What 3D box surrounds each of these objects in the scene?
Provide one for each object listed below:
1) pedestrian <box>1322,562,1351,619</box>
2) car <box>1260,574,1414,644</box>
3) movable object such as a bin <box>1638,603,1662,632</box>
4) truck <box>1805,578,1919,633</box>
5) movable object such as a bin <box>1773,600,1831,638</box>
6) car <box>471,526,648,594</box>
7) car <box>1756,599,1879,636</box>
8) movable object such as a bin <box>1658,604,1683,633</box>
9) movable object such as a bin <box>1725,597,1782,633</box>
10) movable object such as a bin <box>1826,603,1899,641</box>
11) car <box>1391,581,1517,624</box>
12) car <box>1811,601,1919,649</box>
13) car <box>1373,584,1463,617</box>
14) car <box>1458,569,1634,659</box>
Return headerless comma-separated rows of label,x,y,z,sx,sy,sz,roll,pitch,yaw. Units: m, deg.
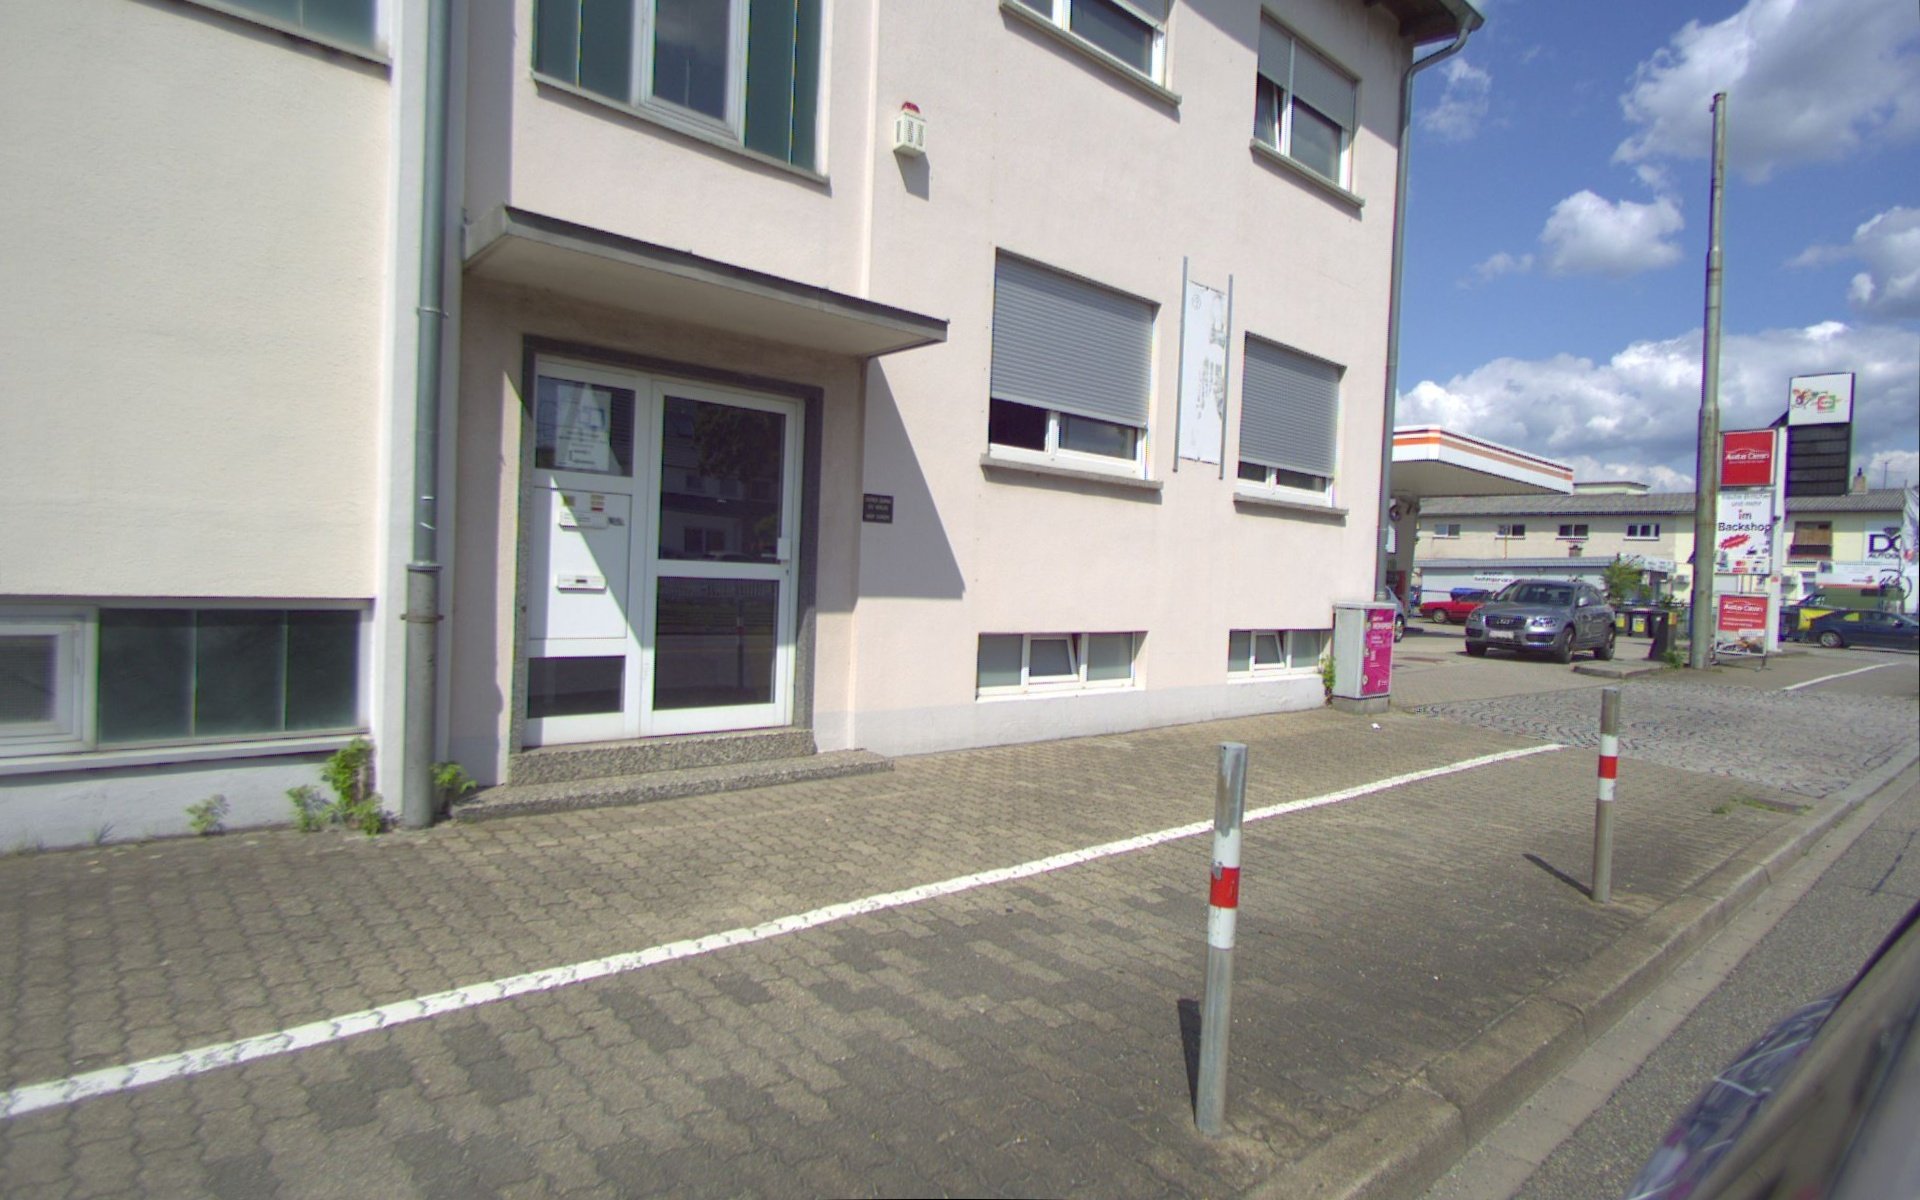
pedestrian,11.631,-0.290,31.296,0.683,1.744,0.611,1,0,37
car,9.045,0.161,24.085,4.350,1.489,1.693,0,2,-44
movable object such as a bin,25.345,0.647,37.179,0.694,1.023,0.581,0,1,-42
truck,46.381,0.245,52.049,2.071,2.694,4.180,0,1,-39
movable object such as a bin,33.640,0.728,40.450,1.735,1.427,1.534,0,1,-42
car,-10.061,-0.976,25.562,3.873,1.562,1.516,0,3,-41
car,38.694,0.751,45.768,1.592,1.481,3.918,0,2,-24
movable object such as a bin,25.748,0.659,36.683,0.694,1.023,0.581,0,1,-42
movable object such as a bin,32.608,0.596,41.591,1.735,1.427,1.534,0,1,-42
movable object such as a bin,35.235,0.833,39.522,1.679,1.364,1.966,0,1,-42
car,19.770,0.048,40.618,1.740,1.442,4.146,0,4,-39
car,31.382,0.829,33.911,1.616,1.425,4.068,0,3,-34
car,20.314,-0.018,44.946,1.461,1.240,3.311,0,4,-39
car,12.463,0.250,21.398,4.538,1.645,1.948,0,3,-43
